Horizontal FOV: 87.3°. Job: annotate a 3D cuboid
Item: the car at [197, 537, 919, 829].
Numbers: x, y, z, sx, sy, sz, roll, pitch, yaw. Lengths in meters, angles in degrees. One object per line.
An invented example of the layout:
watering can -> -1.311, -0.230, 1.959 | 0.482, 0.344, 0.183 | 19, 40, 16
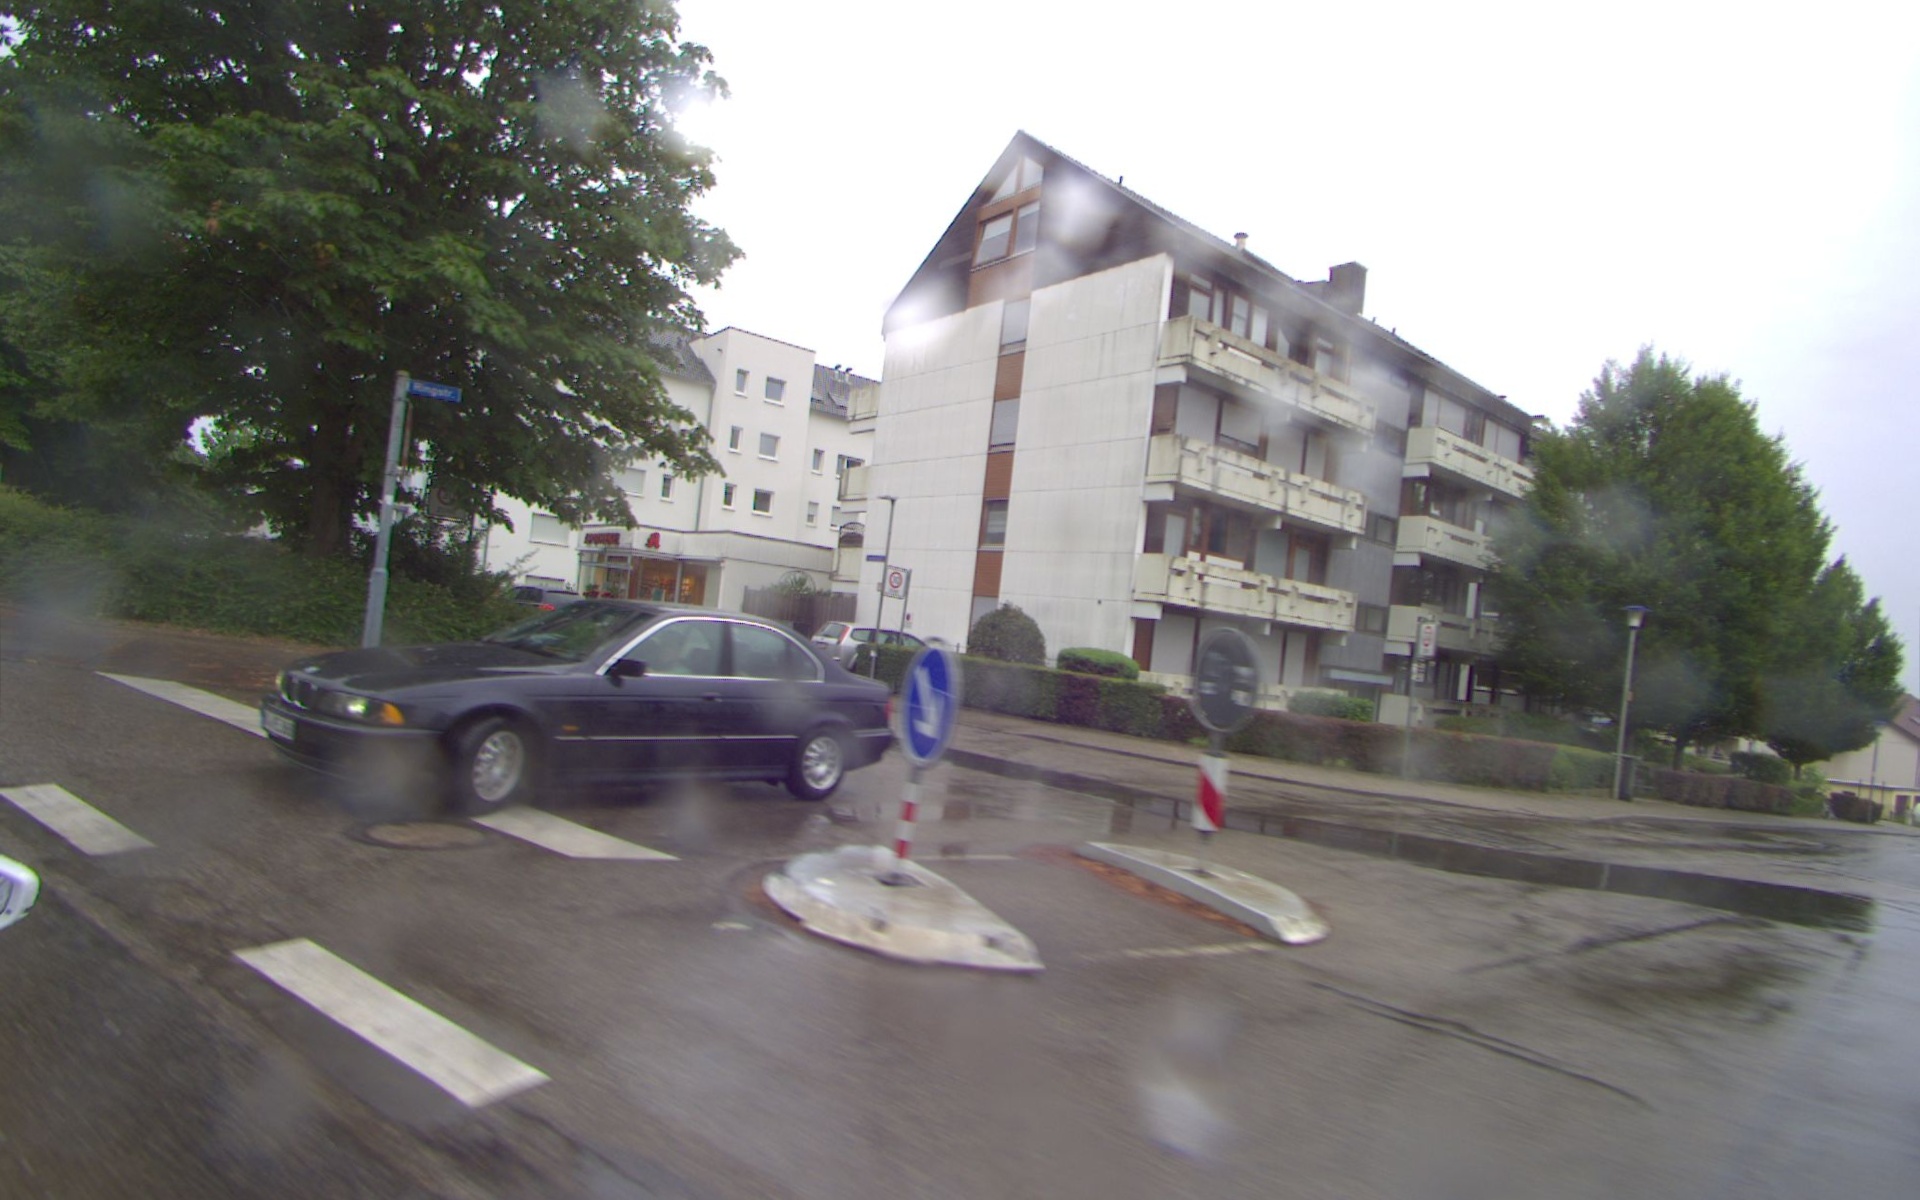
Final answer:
car -> -2.560, 0.657, 7.544 | 1.917, 1.403, 4.604 | 7, -3, 37

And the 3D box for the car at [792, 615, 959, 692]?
car -> -2.170, 1.438, 26.459 | 3.975, 1.478, 1.841 | 9, -2, -42

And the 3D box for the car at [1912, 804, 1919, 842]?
car -> 66.647, 15.300, 66.338 | 1.981, 2.473, 5.119 | 8, -1, -33

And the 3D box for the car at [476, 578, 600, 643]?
car -> -12.900, 0.322, 30.706 | 3.554, 1.455, 1.690 | 7, -1, 34
